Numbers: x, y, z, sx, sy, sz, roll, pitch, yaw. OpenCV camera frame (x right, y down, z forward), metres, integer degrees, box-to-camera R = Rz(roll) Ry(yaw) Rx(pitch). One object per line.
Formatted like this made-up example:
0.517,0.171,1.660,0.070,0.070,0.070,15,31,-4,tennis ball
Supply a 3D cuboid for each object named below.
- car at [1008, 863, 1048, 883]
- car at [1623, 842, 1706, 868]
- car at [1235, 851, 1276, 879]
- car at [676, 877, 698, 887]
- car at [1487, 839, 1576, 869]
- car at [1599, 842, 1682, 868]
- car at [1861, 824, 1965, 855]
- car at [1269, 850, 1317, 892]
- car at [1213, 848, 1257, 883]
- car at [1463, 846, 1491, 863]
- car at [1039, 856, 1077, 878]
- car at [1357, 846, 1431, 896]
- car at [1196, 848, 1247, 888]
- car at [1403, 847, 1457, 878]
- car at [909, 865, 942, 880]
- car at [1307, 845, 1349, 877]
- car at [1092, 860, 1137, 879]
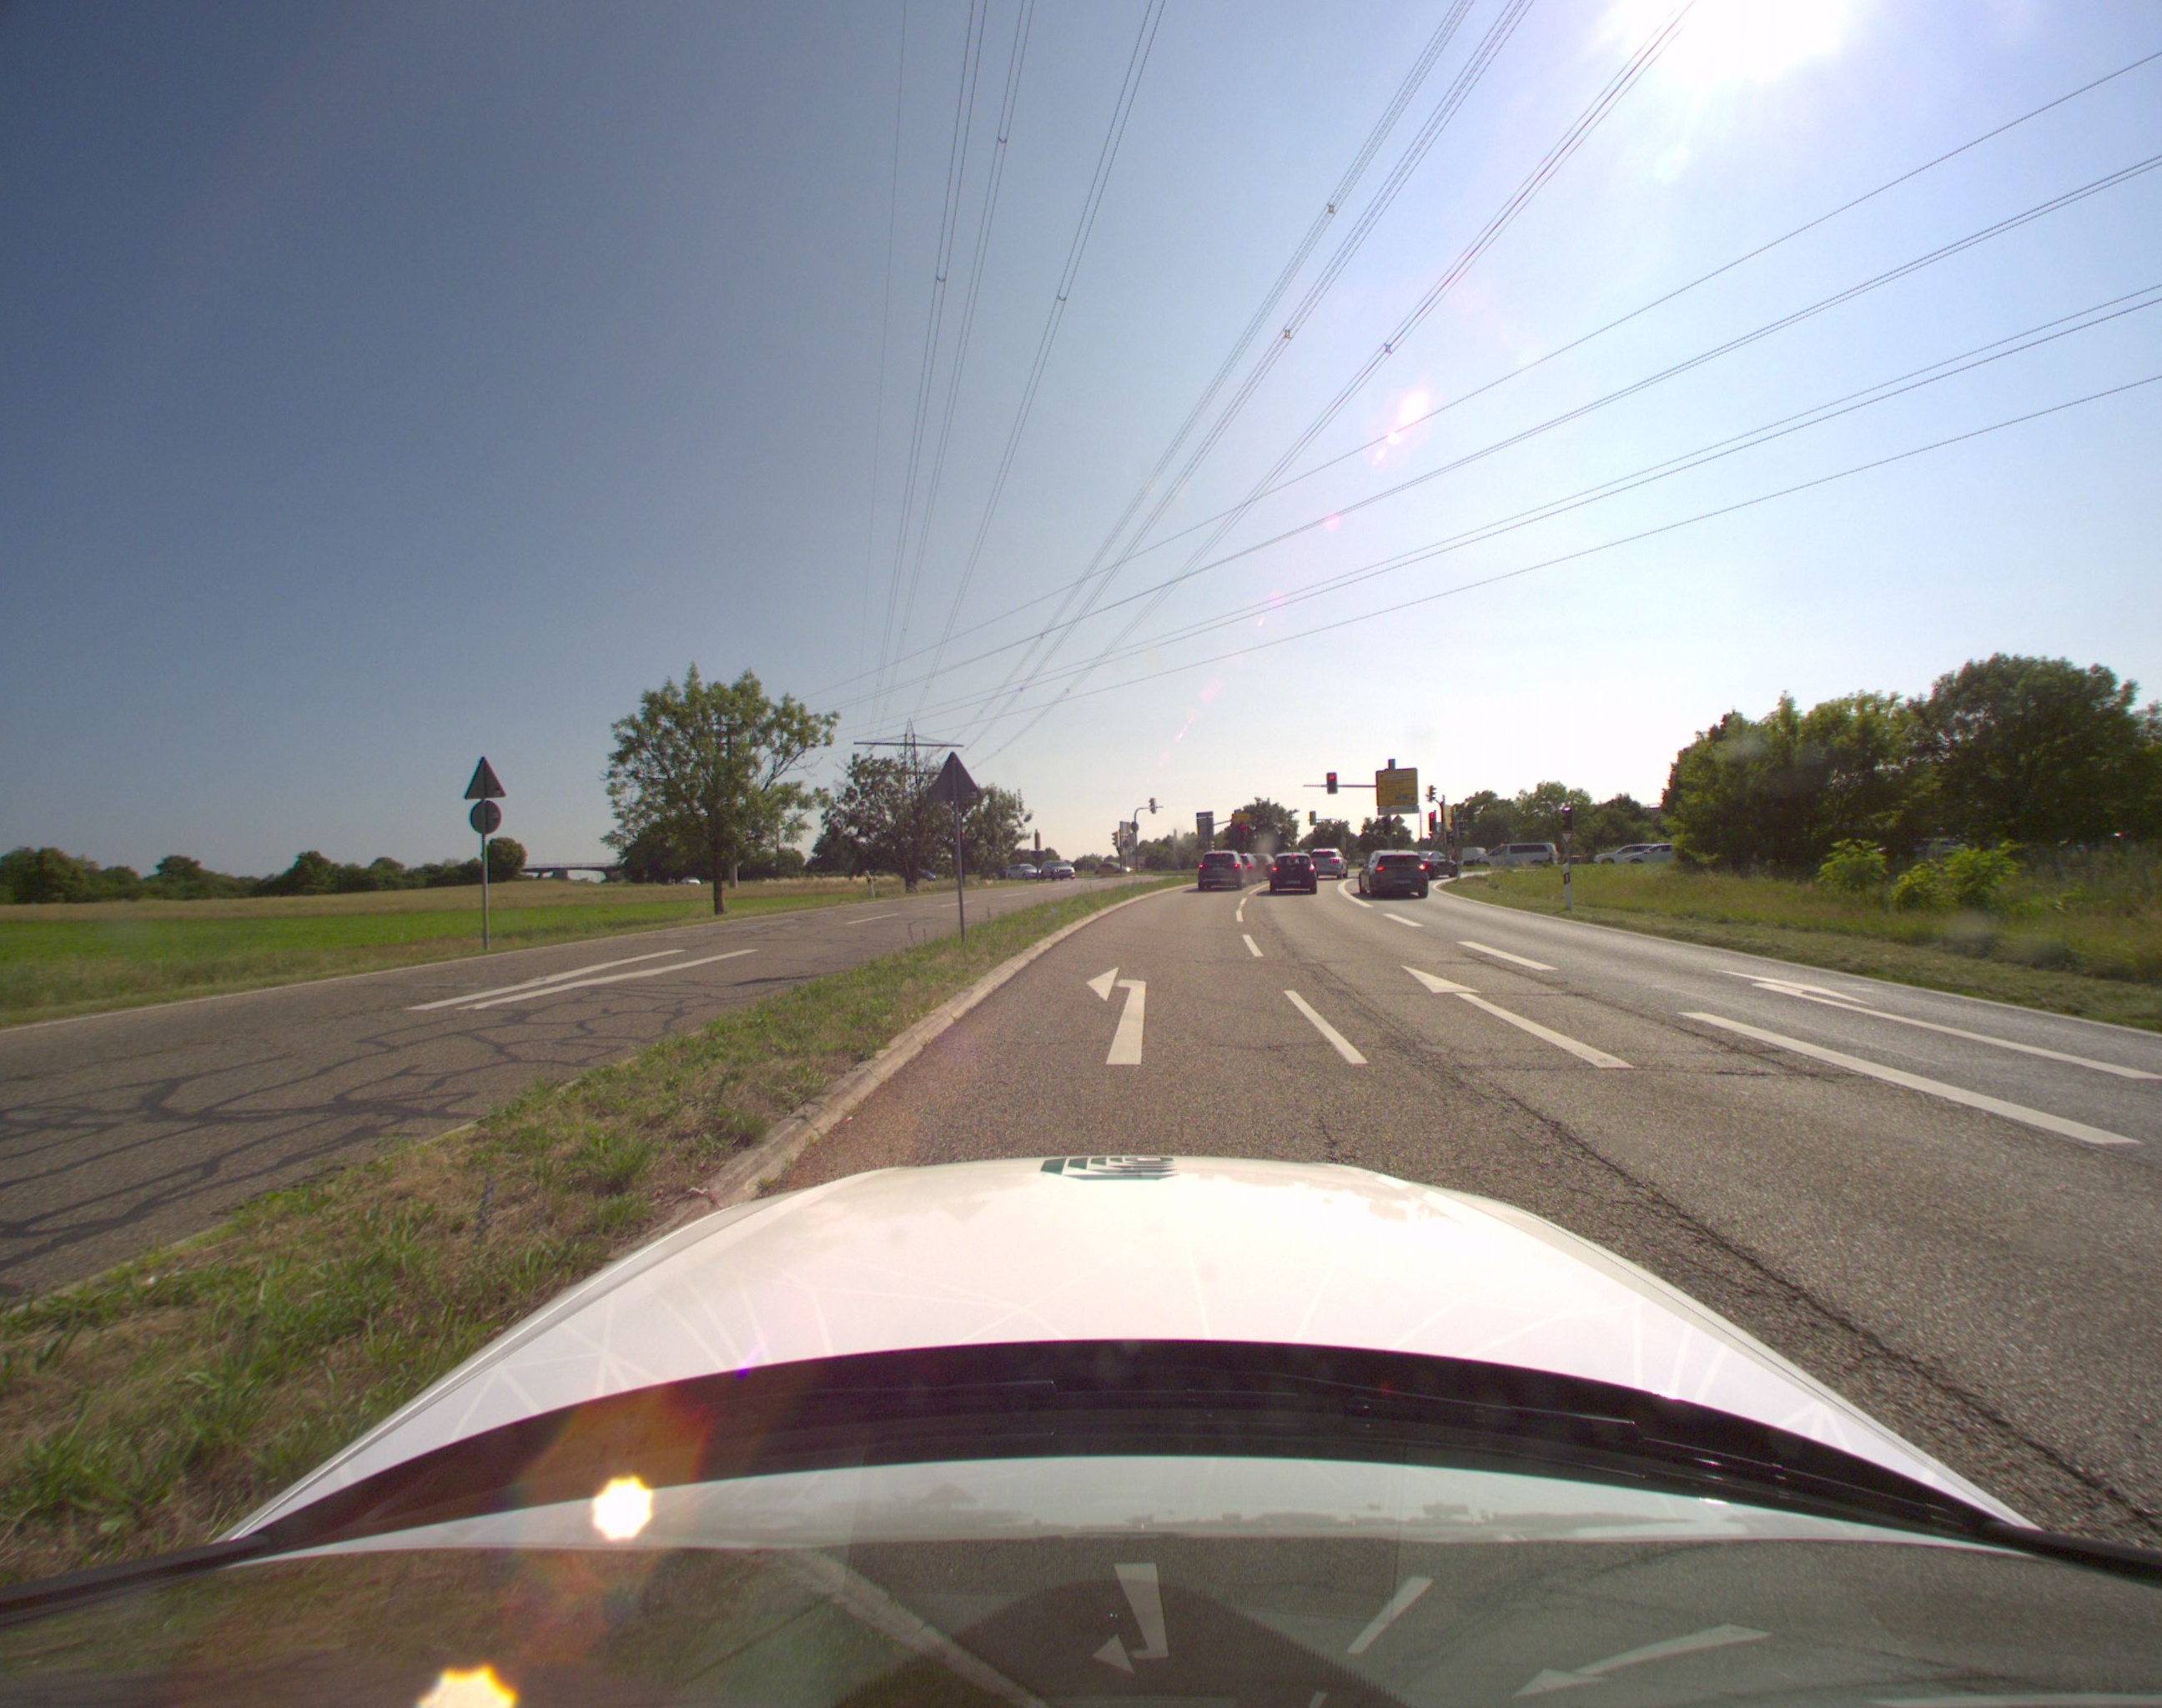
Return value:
-4.738,1.672,72.243,1.828,1.651,3.957,-1,-1,-34,car
35.308,0.087,49.306,3.862,1.465,1.734,-2,-1,42,car
9.674,0.584,44.992,1.727,1.484,3.642,0,-1,20,car
-67.752,4.868,140.055,4.701,1.651,1.831,-2,-2,43,car
30.120,-0.022,54.553,4.884,1.918,2.012,-1,0,41,car
36.477,0.084,53.144,4.280,1.519,1.819,-2,-1,41,car
45.709,-0.784,44.870,3.831,1.519,1.819,-2,-1,42,car
7.872,0.604,30.230,1.621,1.448,3.308,-1,0,15,car
7.423,0.541,38.974,1.729,1.569,3.639,0,-1,16,car
49.083,0.075,100.924,1.911,2.137,4.669,0,-1,42,car
-1.870,1.076,66.246,1.821,1.651,3.971,-1,-1,-21,car
10.481,0.525,27.534,1.760,1.517,4.114,-2,0,13,car
5.895,0.557,33.826,1.729,1.569,3.639,-2,0,15,car
17.411,0.421,40.566,1.625,1.385,4.026,-2,0,35,car
-18.647,2.235,97.608,3.949,1.651,1.831,-2,-1,43,car
13.450,0.368,44.256,1.618,1.677,3.771,-1,-1,25,car
3.084,1.475,76.244,3.949,1.651,1.831,-2,-1,43,car
